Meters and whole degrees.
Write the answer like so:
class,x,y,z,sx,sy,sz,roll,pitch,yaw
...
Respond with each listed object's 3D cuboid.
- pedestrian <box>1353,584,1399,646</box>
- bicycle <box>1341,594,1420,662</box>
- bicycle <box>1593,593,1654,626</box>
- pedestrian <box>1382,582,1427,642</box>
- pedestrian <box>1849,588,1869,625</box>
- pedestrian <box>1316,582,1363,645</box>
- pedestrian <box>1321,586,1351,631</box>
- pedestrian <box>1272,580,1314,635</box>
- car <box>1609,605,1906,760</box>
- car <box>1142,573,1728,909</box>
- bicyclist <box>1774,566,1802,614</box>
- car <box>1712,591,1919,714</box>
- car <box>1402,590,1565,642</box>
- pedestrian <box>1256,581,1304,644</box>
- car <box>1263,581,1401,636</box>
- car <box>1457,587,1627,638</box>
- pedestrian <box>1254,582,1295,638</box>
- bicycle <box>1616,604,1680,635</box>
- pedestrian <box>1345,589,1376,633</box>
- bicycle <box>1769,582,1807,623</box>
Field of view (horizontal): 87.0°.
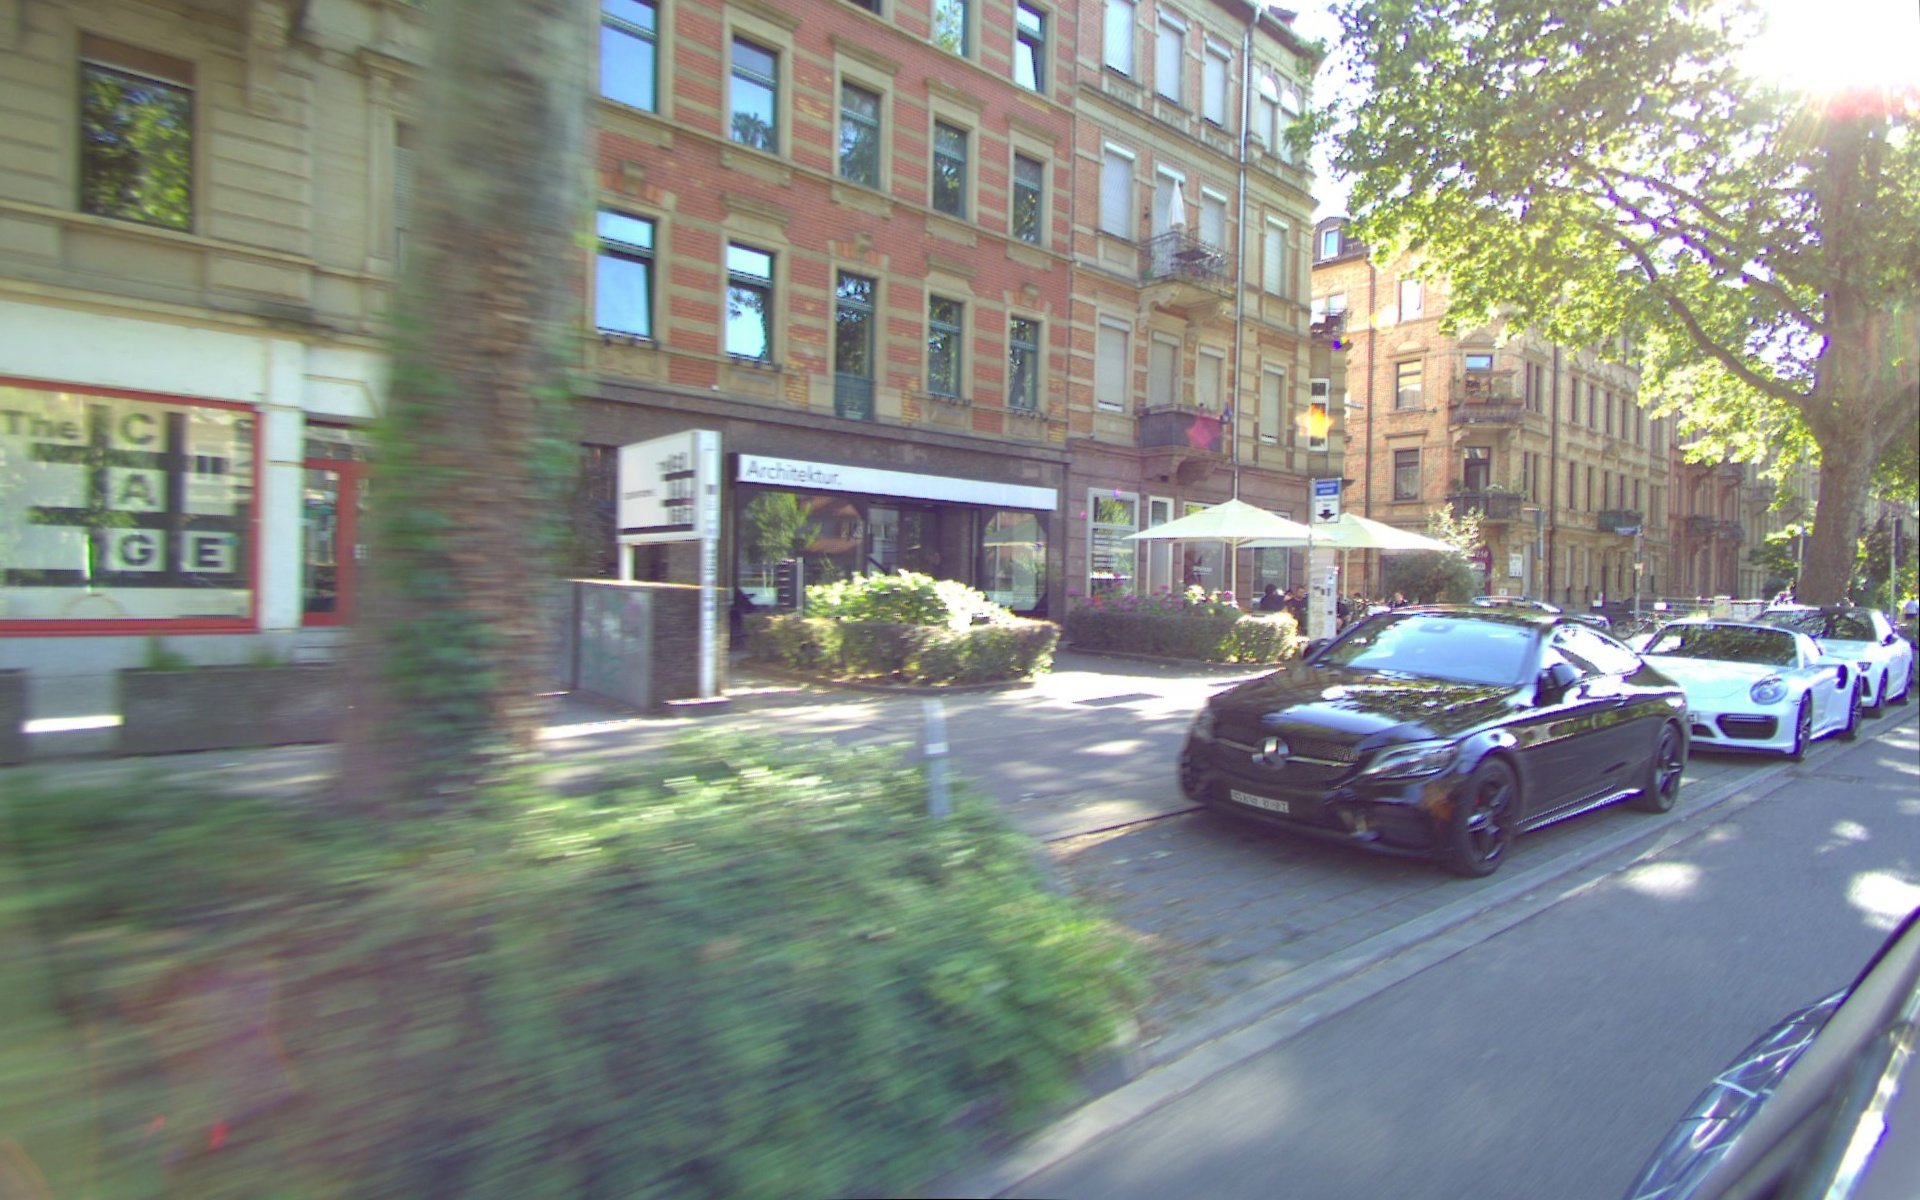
class,x,y,z,sx,sy,sz,roll,pitch,yaw
pedestrian,9.058,0.321,22.037,0.651,1.316,0.714,0,0,-41
bicycle,7.591,0.485,18.235,1.863,1.157,0.476,0,3,-41
bicycle,25.016,0.354,38.165,0.467,1.168,1.868,0,1,-36
pedestrian,10.003,0.269,22.772,0.651,1.316,0.714,0,0,-41
pedestrian,41.379,0.297,46.575,0.606,1.648,0.531,2,1,-40
pedestrian,8.138,0.277,21.709,0.651,1.316,0.714,0,0,-40
pedestrian,9.873,0.211,26.575,0.517,1.152,0.557,0,0,-41
pedestrian,8.144,0.170,24.752,0.651,1.316,0.714,0,0,-41
car,8.839,0.753,11.112,3.930,1.343,1.833,0,1,-41
car,3.456,0.637,6.860,4.718,1.556,1.736,0,1,-39
bicyclist,24.634,-0.293,30.106,0.633,1.398,0.543,2,-3,-42
car,12.575,0.633,14.643,4.565,1.496,1.805,0,1,-41
car,15.612,0.445,30.303,1.713,1.382,3.992,2,0,-43
pedestrian,6.799,0.249,21.510,0.651,1.316,0.714,0,0,-39
car,12.338,0.250,33.743,1.858,1.668,3.907,1,1,-38
car,19.362,0.380,33.811,1.891,1.567,4.604,0,1,-45
pedestrian,7.539,0.220,24.289,0.702,1.316,0.662,0,0,-41
bicycle,22.326,0.631,32.851,1.687,0.928,0.594,1,1,39
pedestrian,10.306,0.269,26.056,0.517,1.116,0.557,0,0,-41
bicycle,24.628,0.087,30.088,2.187,1.193,0.561,1,-2,-42
